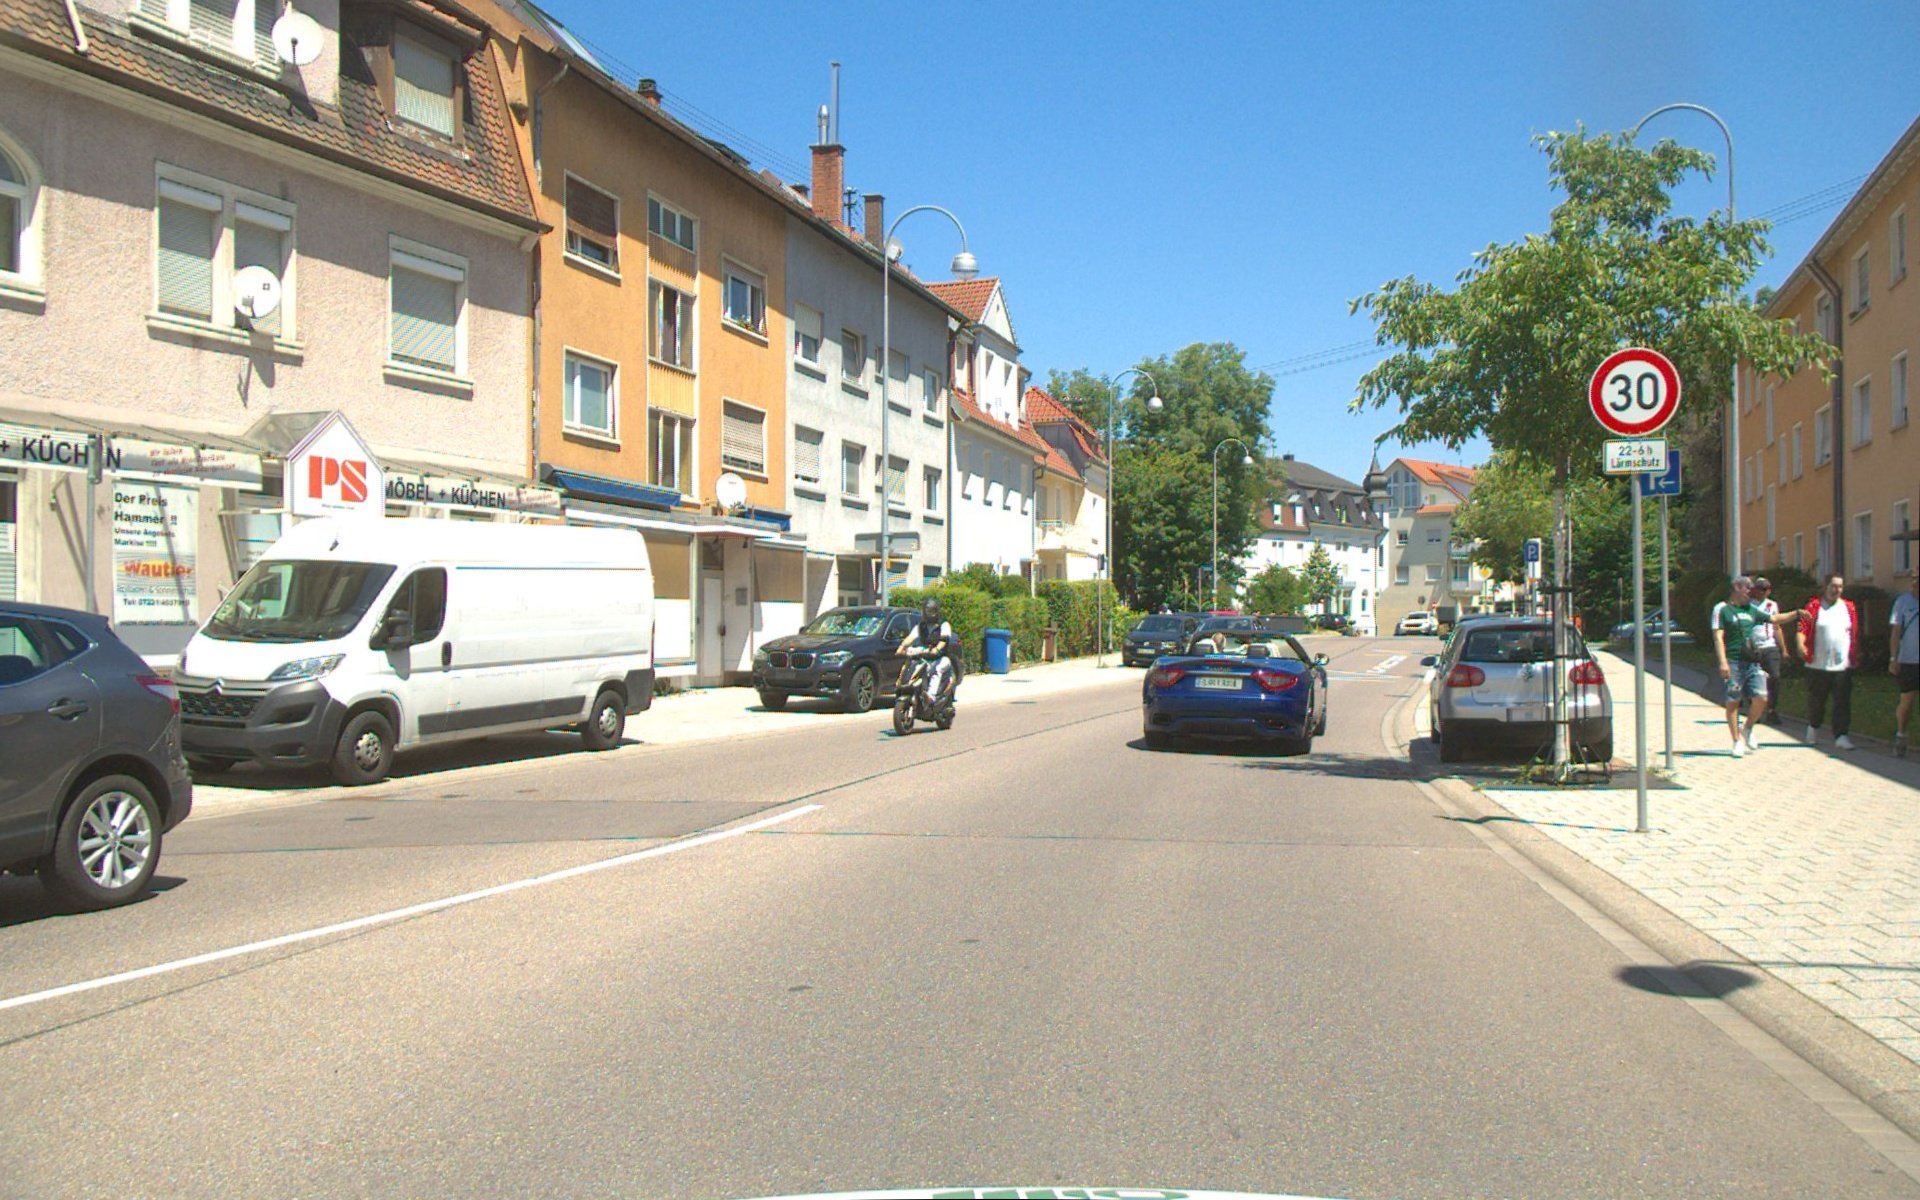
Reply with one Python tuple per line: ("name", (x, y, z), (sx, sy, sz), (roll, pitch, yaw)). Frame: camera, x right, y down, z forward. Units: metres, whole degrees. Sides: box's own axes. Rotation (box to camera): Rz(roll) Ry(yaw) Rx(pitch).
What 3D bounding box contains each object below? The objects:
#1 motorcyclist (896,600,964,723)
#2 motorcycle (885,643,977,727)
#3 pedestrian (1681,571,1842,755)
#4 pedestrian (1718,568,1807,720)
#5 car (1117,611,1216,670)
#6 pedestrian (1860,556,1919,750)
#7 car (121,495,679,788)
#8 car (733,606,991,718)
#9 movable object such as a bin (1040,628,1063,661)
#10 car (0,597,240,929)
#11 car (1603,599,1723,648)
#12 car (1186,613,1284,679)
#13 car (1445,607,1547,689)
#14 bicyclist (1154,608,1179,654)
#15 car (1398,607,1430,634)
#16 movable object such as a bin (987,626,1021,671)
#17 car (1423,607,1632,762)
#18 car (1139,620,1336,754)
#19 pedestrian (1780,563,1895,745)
("motorcyclist", (-0.386, 0.789, 21.494), (0.589, 1.551, 0.896), (-1, -1, 20))
("motorcycle", (-0.359, 1.085, 21.555), (0.593, 1.018, 1.799), (-1, -1, 20))
("pedestrian", (8.158, 0.642, 16.903), (1.146, 1.763, 1.192), (-3, -2, 13))
("pedestrian", (10.258, 0.562, 21.181), (0.803, 1.886, 0.985), (-1, -1, 14))
("car", (5.898, 1.114, 46.910), (1.751, 1.484, 4.197), (3, 1, 22))
("pedestrian", (9.229, 0.499, 15.882), (0.776, 1.810, 1.009), (-1, -1, 14))
("car", (-5.460, 0.358, 17.365), (2.075, 2.492, 6.117), (1, 0, 21))
("car", (-1.501, 0.947, 27.789), (2.045, 1.643, 5.103), (1, 0, 27))
("movable object such as a bin", (2.594, 1.270, 47.064), (0.484, 0.928, 0.706), (-1, -1, 18))
("car", (-5.412, 0.764, 7.221), (1.757, 1.515, 4.393), (-2, -2, 16))
("car", (28.981, 0.972, 68.282), (4.245, 1.871, 1.751), (1, -1, 10))
("car", (6.713, 1.079, 40.037), (1.695, 1.436, 4.002), (-2, -1, 18))
("car", (11.084, 0.941, 34.327), (1.795, 1.530, 5.066), (-3, -1, 17))
("bicyclist", (7.602, 1.136, 60.788), (0.765, 1.688, 0.836), (-1, -1, 16))
("car", (29.215, 1.290, 106.373), (1.838, 1.625, 4.362), (-2, -1, 16))
("movable object such as a bin", (1.079, 1.183, 40.098), (0.658, 1.066, 0.652), (-1, -1, 17))
("car", (6.215, 0.894, 18.566), (1.774, 1.503, 4.510), (-2, -2, 14))
("car", (3.440, 0.977, 19.814), (1.831, 1.366, 4.598), (1, -1, 16))
("pedestrian", (9.304, 0.567, 17.583), (0.771, 1.843, 1.007), (-3, -1, 14))
